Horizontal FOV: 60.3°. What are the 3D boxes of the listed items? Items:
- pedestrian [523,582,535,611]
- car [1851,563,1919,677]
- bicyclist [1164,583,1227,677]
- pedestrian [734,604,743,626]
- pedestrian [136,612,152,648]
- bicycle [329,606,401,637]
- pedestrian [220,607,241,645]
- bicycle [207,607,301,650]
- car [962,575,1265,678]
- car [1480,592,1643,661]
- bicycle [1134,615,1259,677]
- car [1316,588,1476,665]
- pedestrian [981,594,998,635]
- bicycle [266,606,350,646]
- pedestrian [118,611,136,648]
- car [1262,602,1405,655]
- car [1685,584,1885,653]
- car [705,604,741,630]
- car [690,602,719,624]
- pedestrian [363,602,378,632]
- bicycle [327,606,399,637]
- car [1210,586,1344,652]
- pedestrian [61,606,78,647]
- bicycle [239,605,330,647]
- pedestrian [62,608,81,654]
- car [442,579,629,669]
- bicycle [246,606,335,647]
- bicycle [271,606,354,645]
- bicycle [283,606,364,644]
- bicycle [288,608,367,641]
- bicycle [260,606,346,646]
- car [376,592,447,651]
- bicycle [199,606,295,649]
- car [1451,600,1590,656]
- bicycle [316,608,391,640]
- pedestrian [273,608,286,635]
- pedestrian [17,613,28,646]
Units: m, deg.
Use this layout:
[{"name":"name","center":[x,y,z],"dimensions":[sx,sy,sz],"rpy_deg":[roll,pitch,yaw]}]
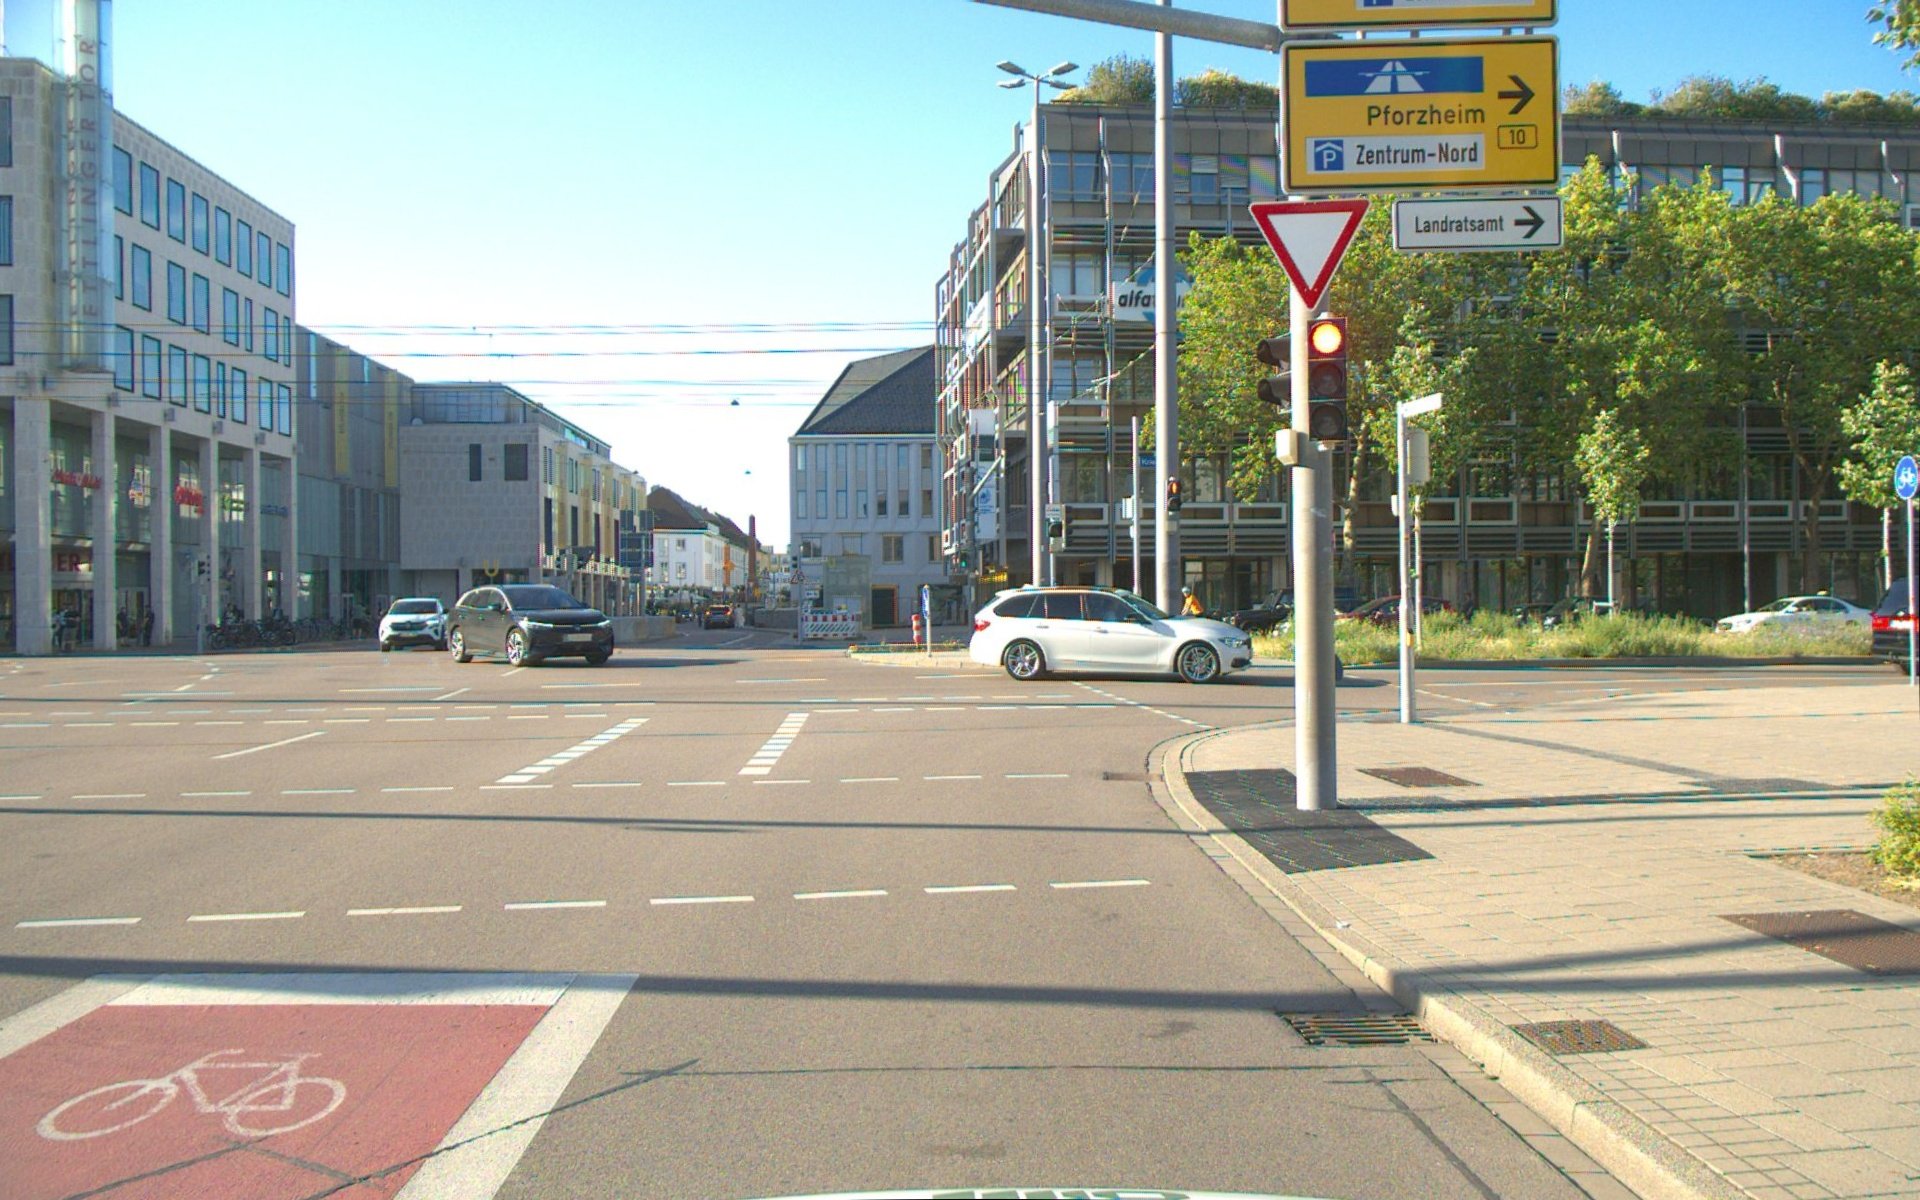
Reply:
[{"name":"pedestrian","center":[-30.130,-0.257,115.707],"dimensions":[0.613,2.049,0.734],"rpy_deg":[-1,0,1]},{"name":"car","center":[17.463,0.282,27.486],"dimensions":[4.389,1.788,1.997],"rpy_deg":[-1,2,-8]},{"name":"bicyclist","center":[6.721,0.836,47.228],"dimensions":[1.539,2.625,0.930],"rpy_deg":[-1,0,-10]},{"name":"pedestrian","center":[-14.489,0.992,108.284],"dimensions":[0.598,1.436,0.569],"rpy_deg":[-1,0,-7]},{"name":"pedestrian","center":[-34.647,1.274,70.225],"dimensions":[0.472,1.537,0.513],"rpy_deg":[-1,0,-5]},{"name":"bicycle","center":[-31.384,1.113,87.251],"dimensions":[3.430,1.554,0.984],"rpy_deg":[-1,0,-12]},{"name":"pedestrian","center":[-33.187,1.174,75.268],"dimensions":[0.771,1.671,0.692],"rpy_deg":[-1,0,-15]},{"name":"bicycle","center":[-29.553,1.168,69.258],"dimensions":[3.427,1.726,1.114],"rpy_deg":[-1,0,-10]},{"name":"car","center":[2.510,0.420,26.713],"dimensions":[4.587,1.554,2.001],"rpy_deg":[-1,0,15]},{"name":"car","center":[18.830,0.825,51.883],"dimensions":[4.359,2.049,1.998],"rpy_deg":[1,0,-6]},{"name":"bicycle","center":[6.750,1.306,47.227],"dimensions":[3.427,1.688,0.929],"rpy_deg":[-1,0,-10]},{"name":"car","center":[12.234,0.737,46.583],"dimensions":[3.908,2.049,1.999],"rpy_deg":[1,0,-3]},{"name":"pedestrian","center":[1.215,0.593,68.278],"dimensions":[0.650,1.687,0.755],"rpy_deg":[-1,0,-4]},{"name":"bicycle","center":[-29.793,1.182,75.588],"dimensions":[3.430,1.726,0.984],"rpy_deg":[-1,0,-12]},{"name":"pedestrian","center":[-35.043,1.251,69.567],"dimensions":[0.501,1.537,0.513],"rpy_deg":[-1,0,-5]},{"name":"car","center":[11.442,0.868,50.820],"dimensions":[3.908,1.534,1.867],"rpy_deg":[1,0,-4]},{"name":"car","center":[26.175,0.583,52.579],"dimensions":[5.332,2.049,2.096],"rpy_deg":[1,0,-3]},{"name":"car","center":[-15.491,1.102,108.169],"dimensions":[2.157,1.635,4.320],"rpy_deg":[-1,0,-6]},{"name":"car","center":[-20.499,1.035,132.923],"dimensions":[1.954,1.689,4.402],"rpy_deg":[-1,0,-5]},{"name":"pedestrian","center":[-33.729,0.972,94.657],"dimensions":[0.641,1.671,0.693],"rpy_deg":[-1,0,-9]},{"name":"bicycle","center":[-31.068,1.125,86.134],"dimensions":[3.430,1.554,0.984],"rpy_deg":[-1,0,-12]},{"name":"car","center":[10.308,0.602,53.924],"dimensions":[3.908,2.049,1.999],"rpy_deg":[1,0,-3]},{"name":"pedestrian","center":[-35.626,1.051,66.154],"dimensions":[0.420,1.613,0.498],"rpy_deg":[-1,0,-5]},{"name":"bicycle","center":[-28.864,1.091,70.719],"dimensions":[3.427,1.726,1.114],"rpy_deg":[-1,0,-10]},{"name":"pedestrian","center":[-32.561,1.118,60.596],"dimensions":[0.532,1.671,0.547],"rpy_deg":[-1,0,-21]},{"name":"car","center":[-8.487,0.401,32.742],"dimensions":[1.978,1.629,4.891],"rpy_deg":[0,1,-36]},{"name":"bicycle","center":[-29.094,1.128,71.931],"dimensions":[3.427,1.726,1.114],"rpy_deg":[-1,0,-10]},{"name":"bicycle","center":[-30.034,1.183,76.788],"dimensions":[3.430,1.726,0.984],"rpy_deg":[-1,0,-12]},{"name":"bicycle","center":[-30.333,1.192,78.873],"dimensions":[3.430,1.726,0.984],"rpy_deg":[-1,0,-12]},{"name":"bicycle","center":[-30.537,1.175,79.862],"dimensions":[3.430,1.554,0.984],"rpy_deg":[-1,0,-12]},{"name":"bicycle","center":[-29.569,1.173,74.500],"dimensions":[3.430,1.726,0.984],"rpy_deg":[-1,0,-12]},{"name":"car","center":[-17.063,0.634,51.353],"dimensions":[1.964,1.689,4.380],"rpy_deg":[-1,0,-20]},{"name":"bicycle","center":[-29.318,1.117,68.039],"dimensions":[3.427,1.726,1.114],"rpy_deg":[-1,0,-10]},{"name":"car","center":[18.673,0.914,55.192],"dimensions":[3.908,1.780,1.998],"rpy_deg":[1,0,-5]},{"name":"bicycle","center":[-30.880,1.217,84.272],"dimensions":[3.430,1.554,0.984],"rpy_deg":[-1,0,-12]},{"name":"pedestrian","center":[-36.707,1.169,89.245],"dimensions":[0.629,1.460,0.472],"rpy_deg":[-1,0,-23]},{"name":"pedestrian","center":[-40.658,1.279,71.761],"dimensions":[0.381,1.437,0.434],"rpy_deg":[-1,0,-26]}]
